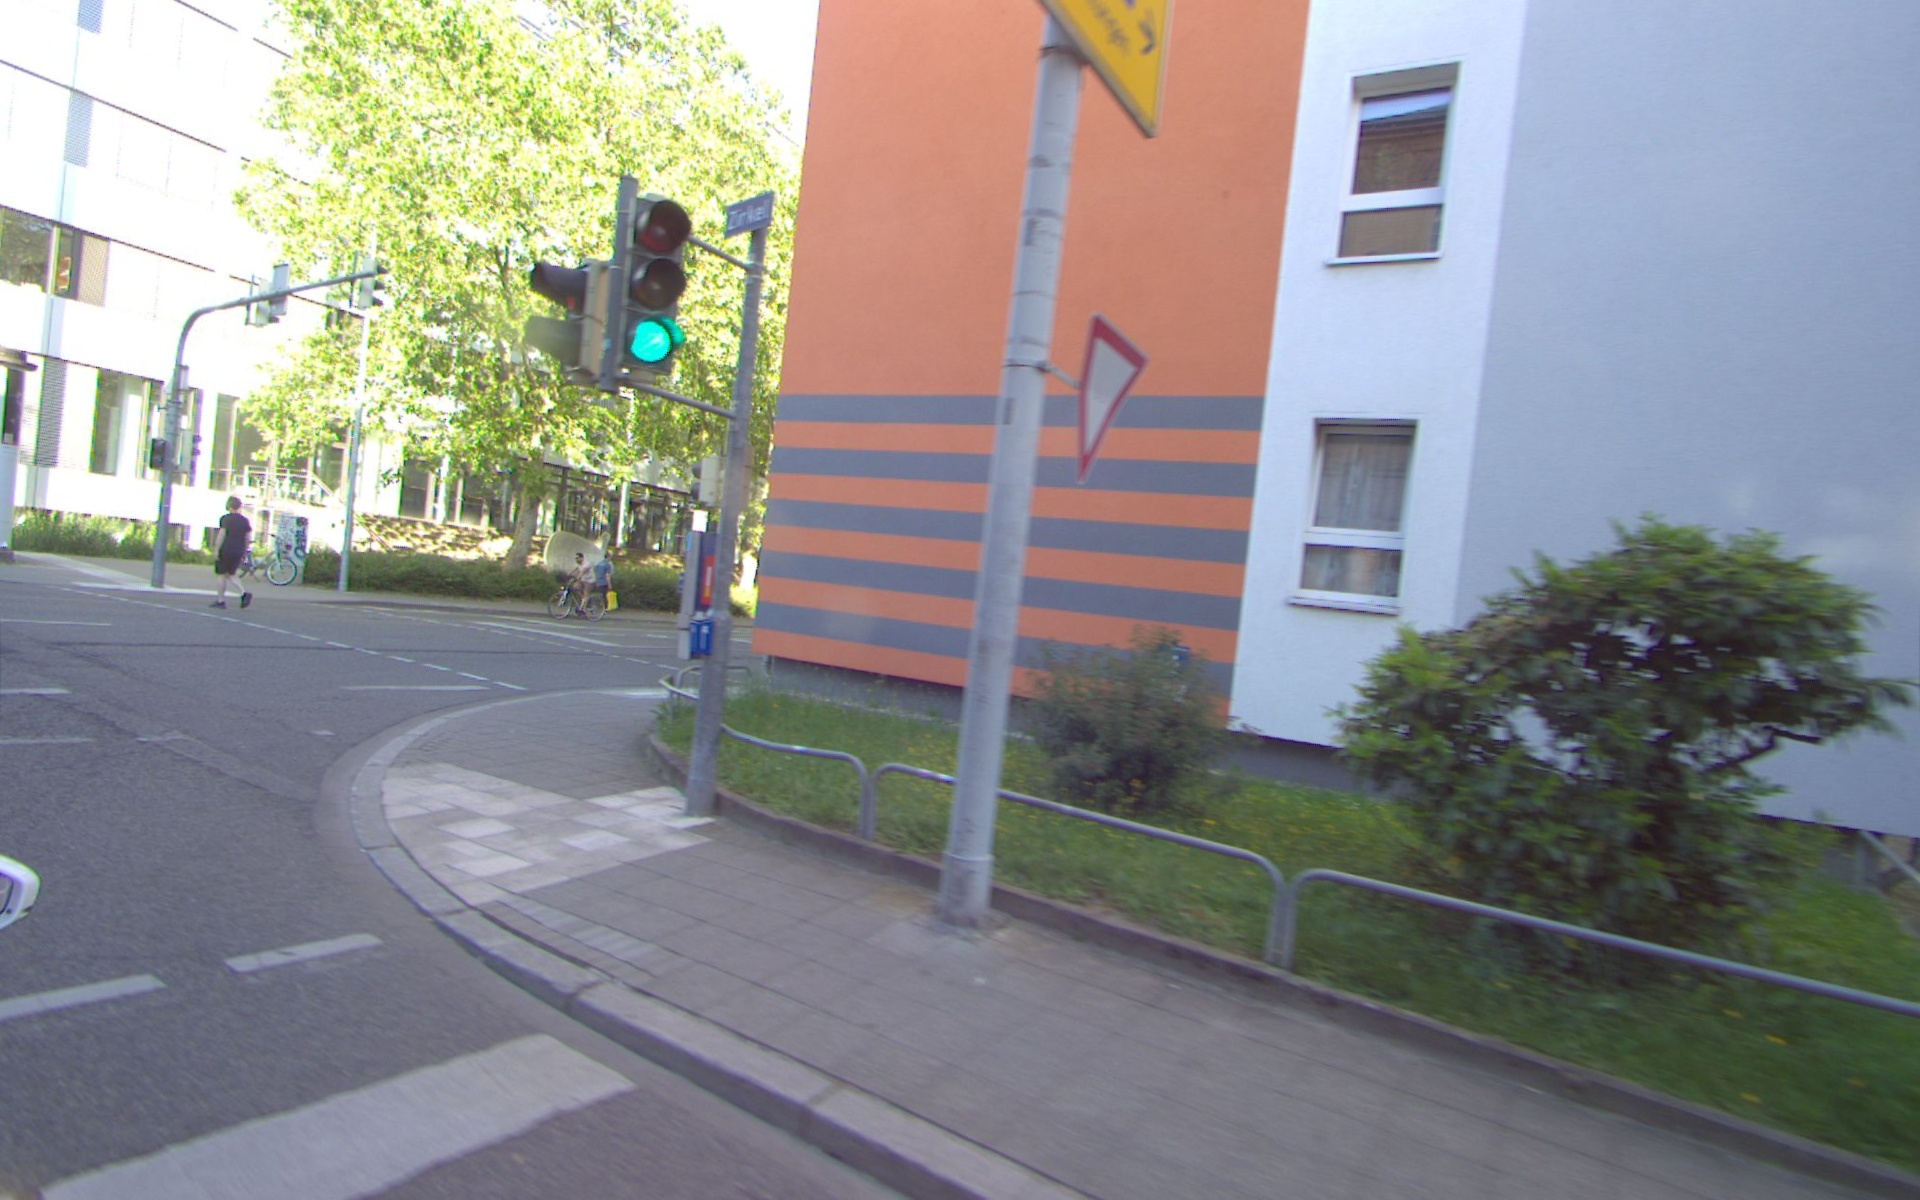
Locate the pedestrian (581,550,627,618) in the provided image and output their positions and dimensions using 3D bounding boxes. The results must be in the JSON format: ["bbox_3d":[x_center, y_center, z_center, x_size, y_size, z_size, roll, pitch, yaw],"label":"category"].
[{"bbox_3d":[-10.429,-0.470,29.489,0.696,1.861,0.837,7,-1,25],"label":"pedestrian"}]

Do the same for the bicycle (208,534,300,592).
[{"bbox_3d":[-16.334,-0.850,23.293,1.657,1.063,0.508,9,2,0],"label":"bicycle"}]

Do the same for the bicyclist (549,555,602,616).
[{"bbox_3d":[-10.277,-0.375,26.912,0.737,1.507,0.952,7,1,34],"label":"bicyclist"}]

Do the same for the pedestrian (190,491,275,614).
[{"bbox_3d":[-11.843,-0.766,16.378,0.824,1.861,0.707,7,-1,35],"label":"pedestrian"}]

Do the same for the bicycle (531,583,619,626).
[{"bbox_3d":[-10.298,0.134,26.983,0.720,0.938,2.112,7,0,34],"label":"bicycle"}]
